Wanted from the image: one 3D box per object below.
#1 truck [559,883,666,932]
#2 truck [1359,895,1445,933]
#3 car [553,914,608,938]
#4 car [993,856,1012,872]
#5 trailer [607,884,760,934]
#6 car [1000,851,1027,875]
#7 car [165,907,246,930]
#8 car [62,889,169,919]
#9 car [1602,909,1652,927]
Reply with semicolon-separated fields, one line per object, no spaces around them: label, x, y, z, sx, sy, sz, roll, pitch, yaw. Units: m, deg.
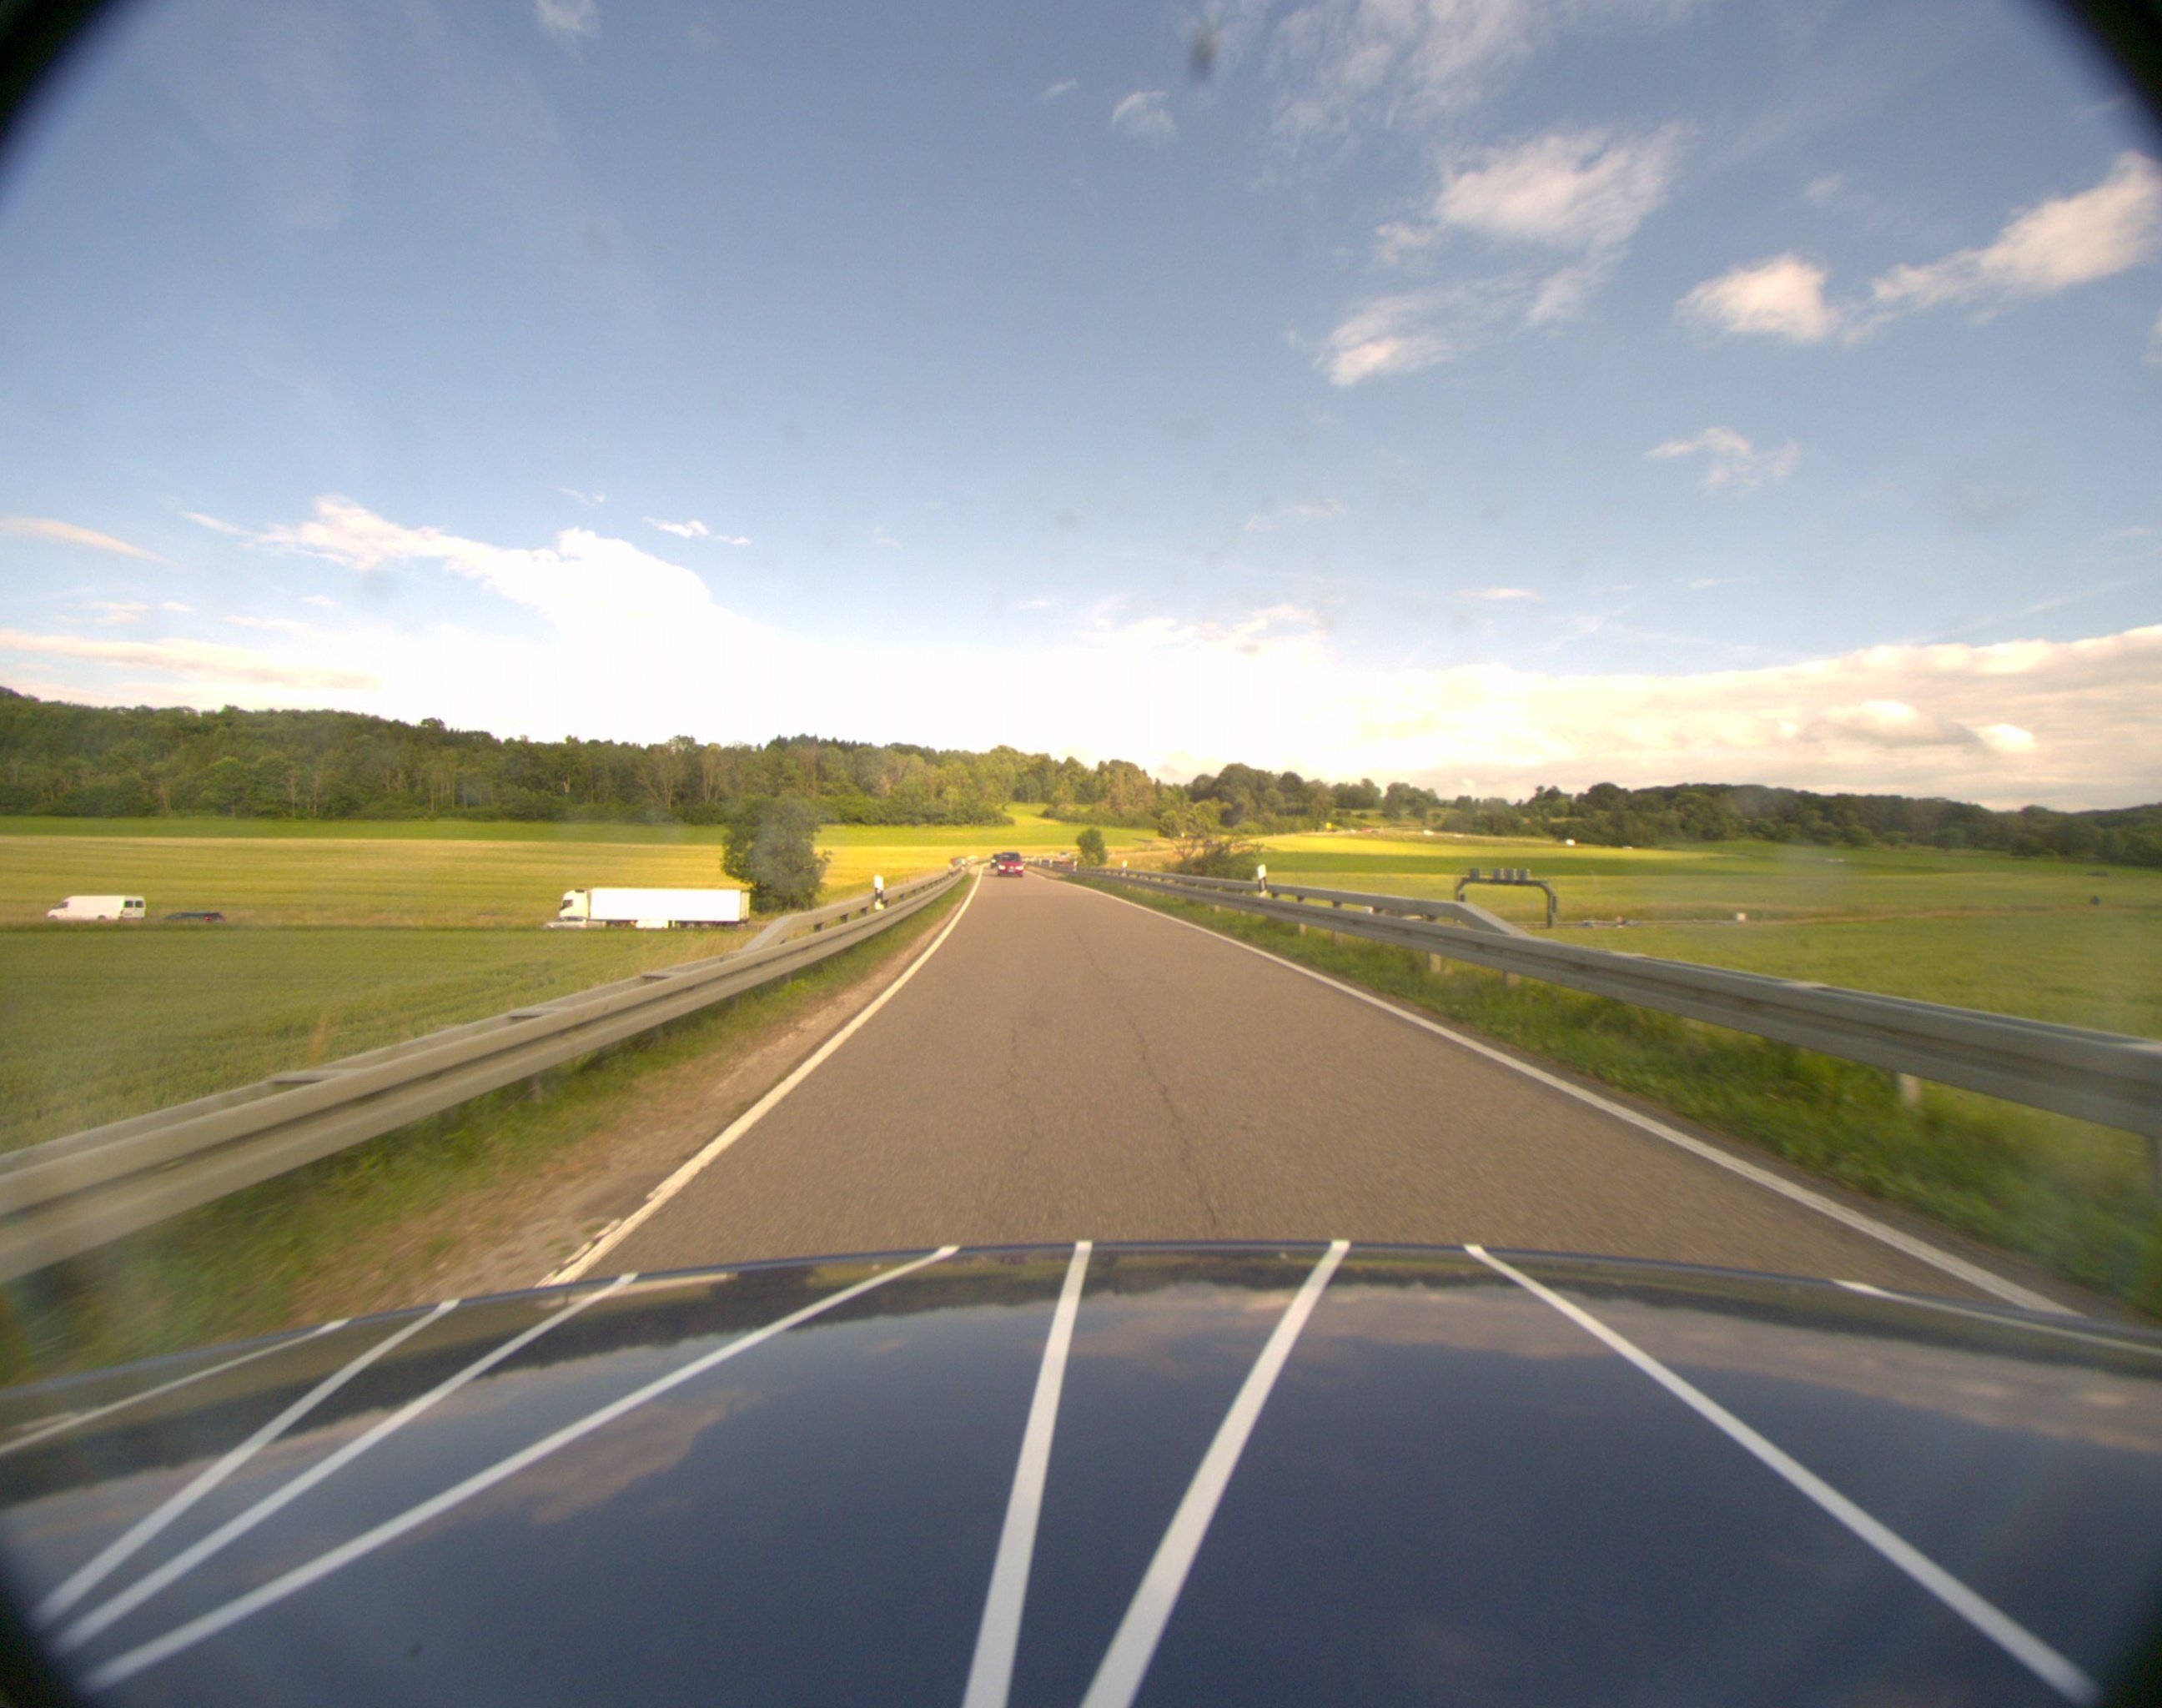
truck;-44.428;5.063;72.298;8.053;4.440;3.029;1;-2;-5
truck;34.471;6.429;81.610;8.497;3.386;2.121;4;1;-10
car;-43.656;6.276;66.348;3.466;1.634;1.760;-2;4;-5
car;-8.448;1.063;82.311;1.822;1.601;3.998;2;0;-4
trailer;-37.912;5.235;72.854;12.723;4.440;3.032;1;-2;-5
car;-4.952;0.653;55.172;1.822;1.645;3.998;2;-1;-6
car;-73.309;5.407;63.690;4.373;1.692;1.776;1;2;-7
car;-87.559;4.556;68.993;6.120;2.568;2.374;2;-4;-3
car;55.270;6.483;76.909;4.001;1.640;1.826;1;1;-11
